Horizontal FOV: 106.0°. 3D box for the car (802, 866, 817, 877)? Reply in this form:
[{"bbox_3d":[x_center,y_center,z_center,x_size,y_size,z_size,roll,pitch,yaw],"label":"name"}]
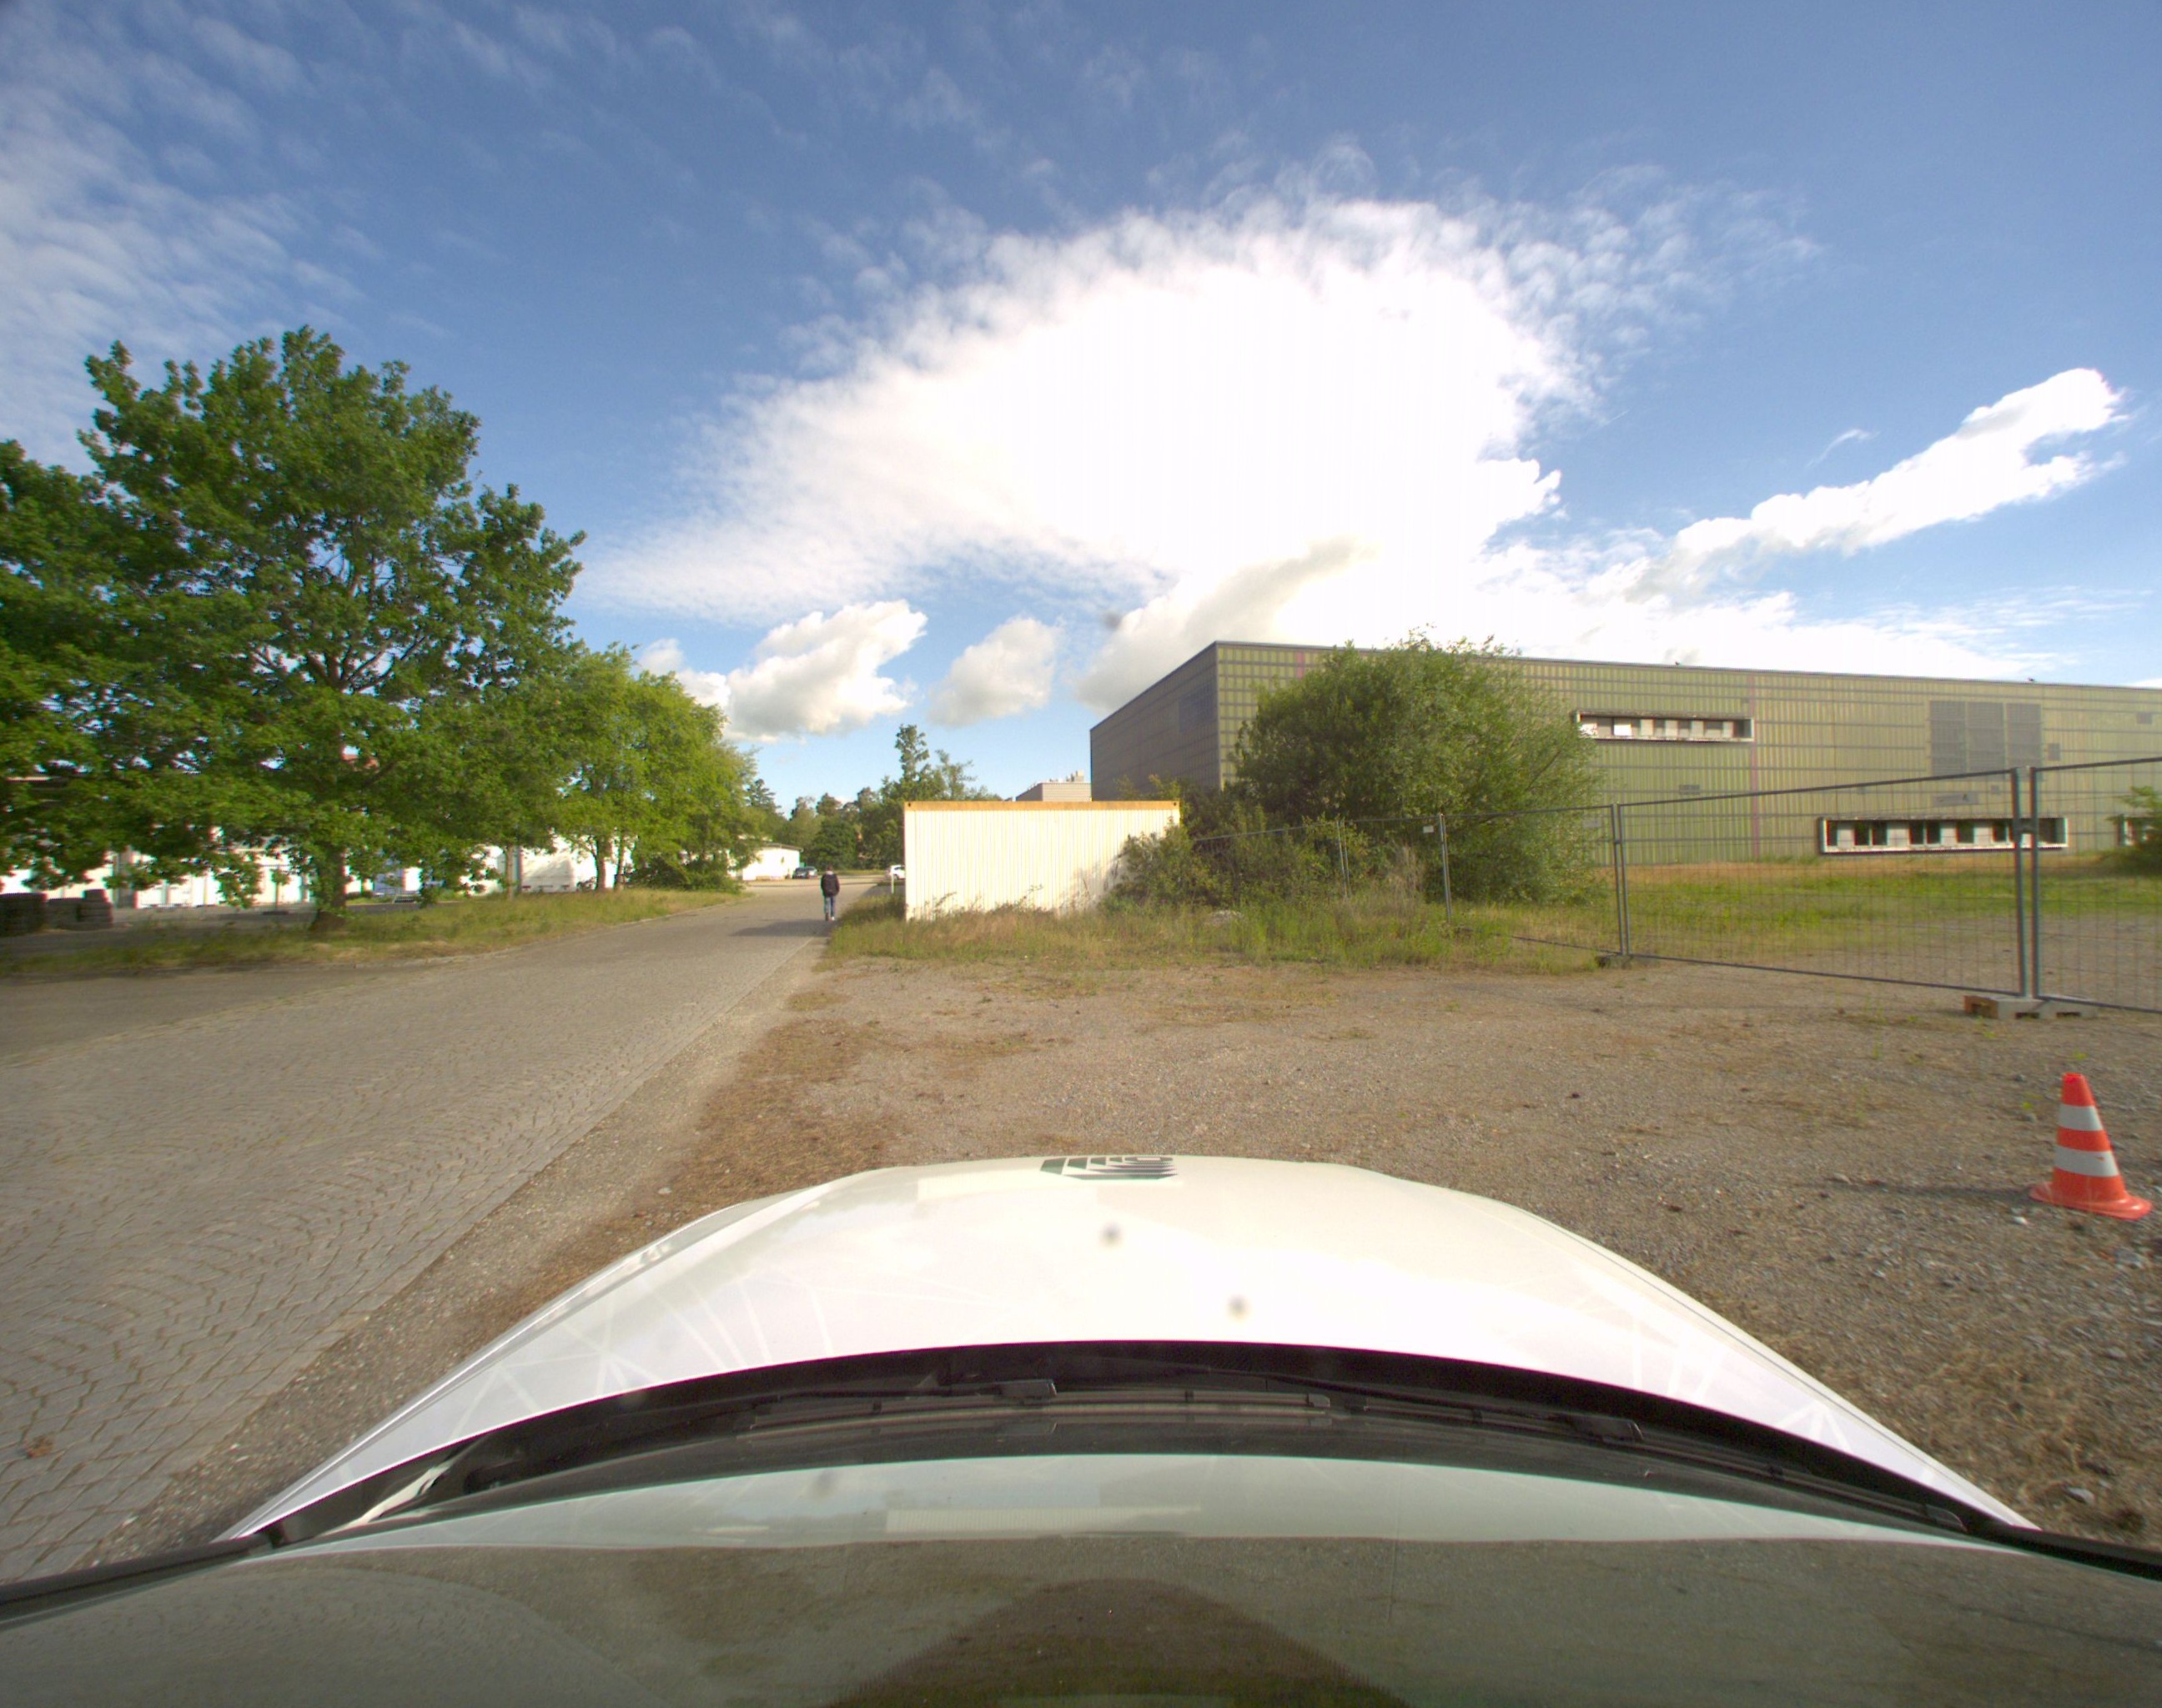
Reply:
[{"bbox_3d":[-37.487,2.409,112.412,2.000,1.376,3.974,-1,-1,-19],"label":"car"}]

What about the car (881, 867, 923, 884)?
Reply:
[{"bbox_3d":[-18.007,2.164,82.007,3.985,1.643,1.994,-1,-1,-8],"label":"car"}]

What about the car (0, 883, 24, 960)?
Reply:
[{"bbox_3d":[-21.171,1.278,13.723,1.720,1.464,3.991,-1,-1,-6],"label":"car"}]

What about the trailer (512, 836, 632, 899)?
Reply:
[{"bbox_3d":[-31.102,0.827,50.365,2.918,3.471,9.862,-1,-1,-11],"label":"trailer"}]

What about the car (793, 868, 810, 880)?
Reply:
[{"bbox_3d":[-35.150,2.518,102.442,2.000,1.371,3.974,-1,-1,-19],"label":"car"}]

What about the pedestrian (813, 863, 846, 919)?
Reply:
[{"bbox_3d":[-7.259,1.059,23.571,0.867,1.559,1.022,-1,-1,-17],"label":"pedestrian"}]
